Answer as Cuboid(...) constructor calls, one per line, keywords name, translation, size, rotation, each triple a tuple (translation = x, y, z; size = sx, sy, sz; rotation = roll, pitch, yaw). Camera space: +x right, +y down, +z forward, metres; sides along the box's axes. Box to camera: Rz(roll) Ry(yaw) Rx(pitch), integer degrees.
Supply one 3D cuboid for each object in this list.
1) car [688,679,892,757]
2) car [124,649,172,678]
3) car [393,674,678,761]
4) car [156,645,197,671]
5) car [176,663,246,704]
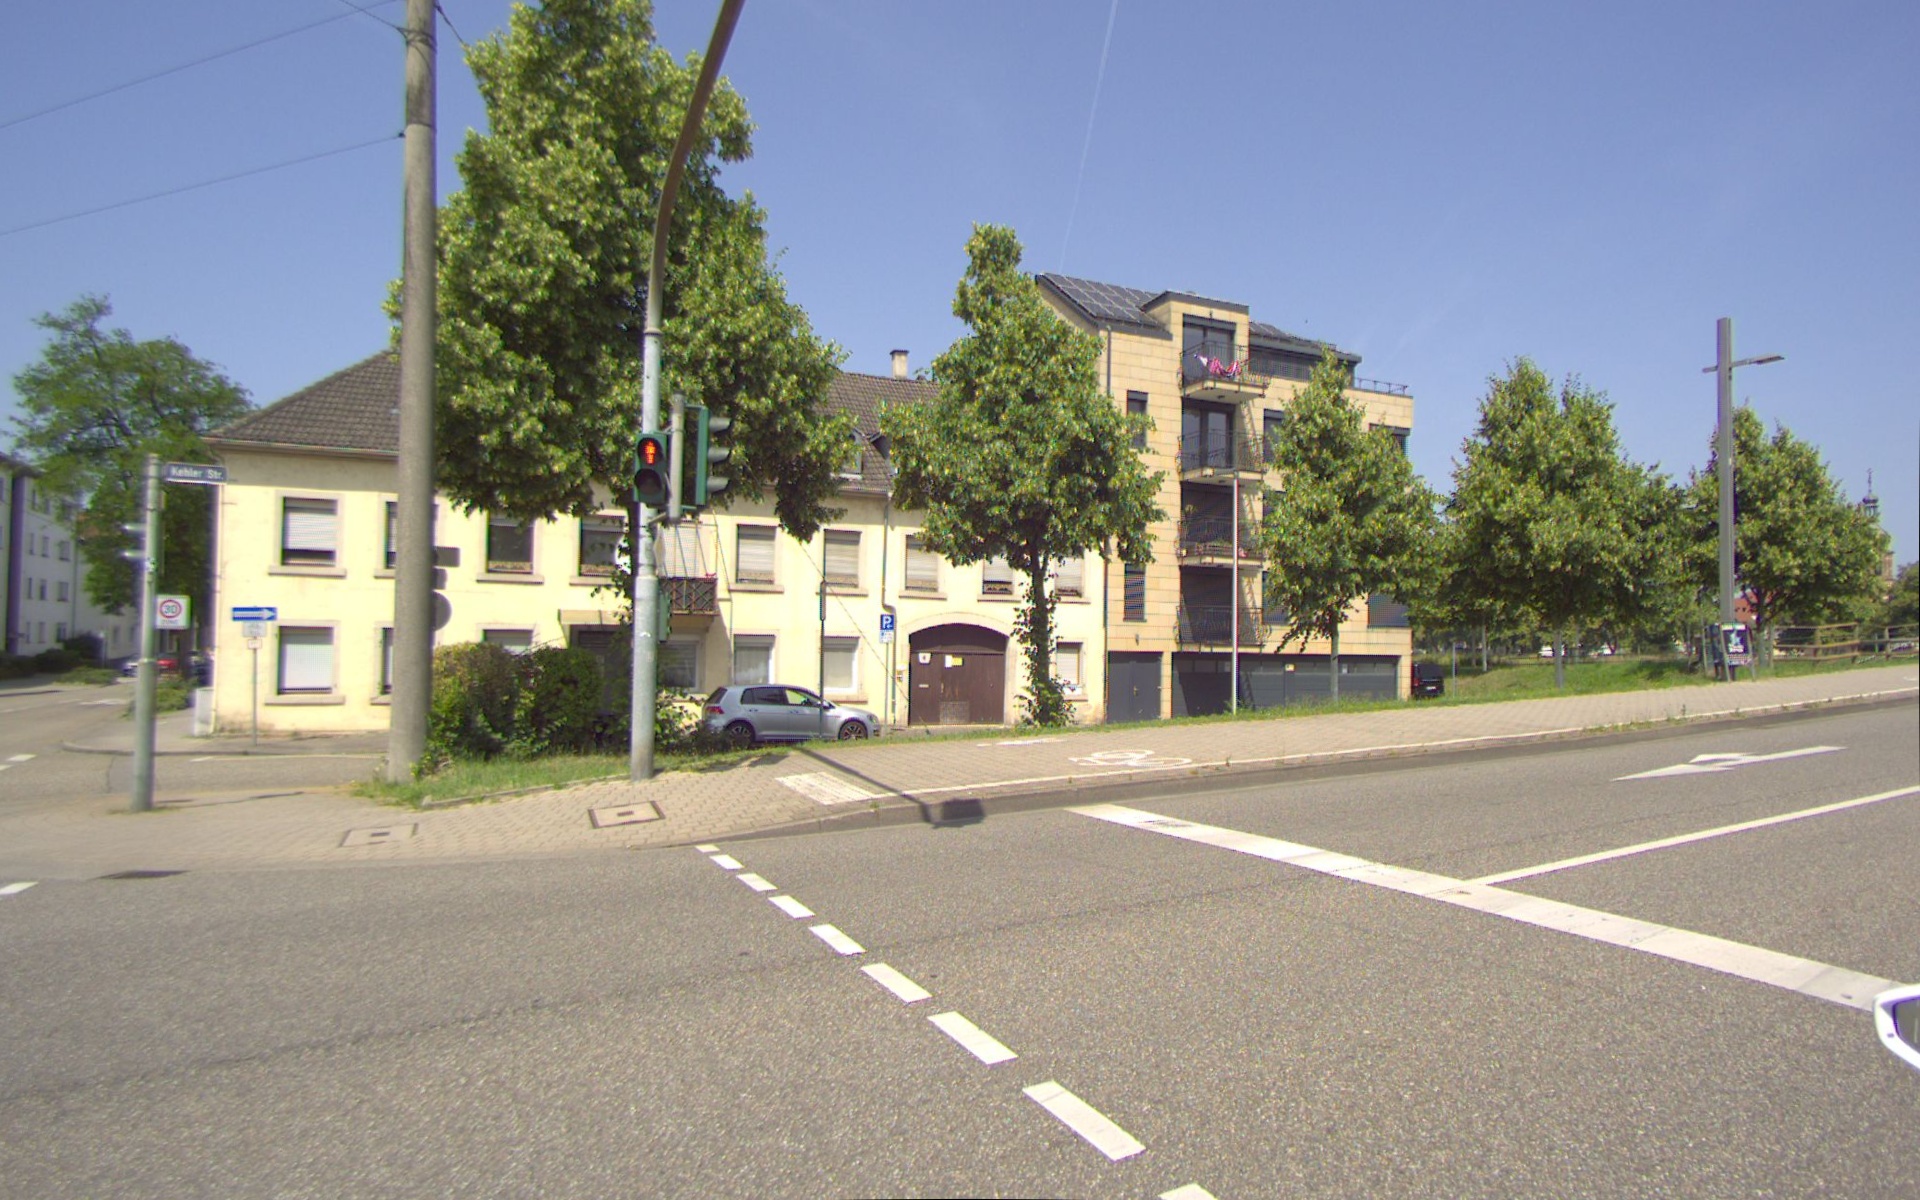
Cuboid(name="car", translation=(-3.906, 2.658, 23.161), size=(4.366, 1.451, 1.772), rotation=(1, 0, -23))
Cuboid(name="car", translation=(-53.635, 4.165, 66.408), size=(1.527, 1.694, 3.235), rotation=(2, -1, -23))
Cuboid(name="car", translation=(-8.709, 2.401, 20.982), size=(5.211, 1.649, 1.812), rotation=(2, -5, -23))
Cuboid(name="car", translation=(-56.639, 4.164, 72.655), size=(1.527, 1.694, 3.235), rotation=(2, -1, -23))
Cuboid(name="car", translation=(-32.002, 3.551, 43.036), size=(1.788, 1.425, 3.970), rotation=(2, -1, -29))
